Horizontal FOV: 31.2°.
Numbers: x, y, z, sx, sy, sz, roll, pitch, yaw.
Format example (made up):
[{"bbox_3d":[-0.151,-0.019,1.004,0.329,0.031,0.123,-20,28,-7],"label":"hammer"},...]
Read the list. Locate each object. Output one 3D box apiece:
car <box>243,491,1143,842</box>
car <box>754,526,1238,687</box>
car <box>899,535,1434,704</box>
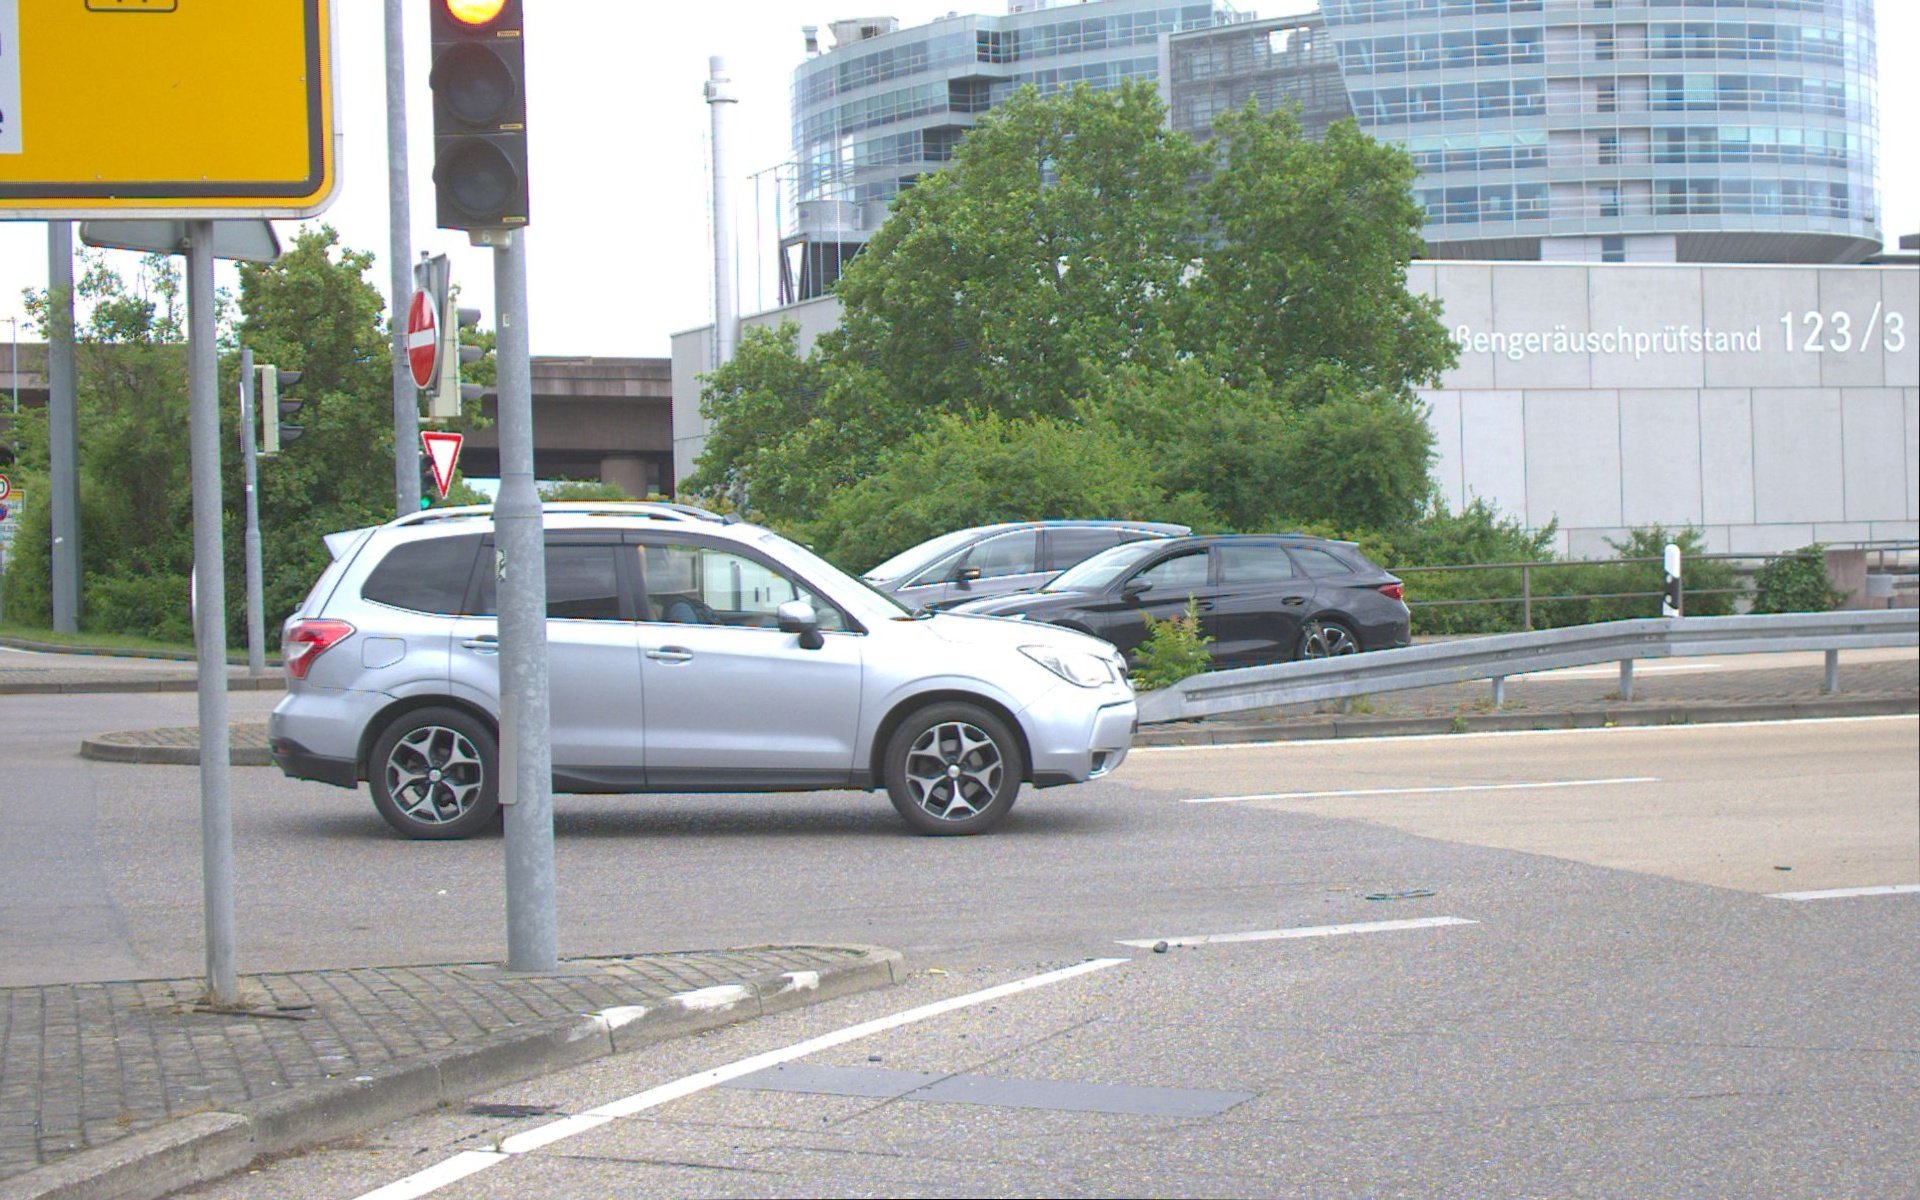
[{"bbox_3d":[-1.315,0.318,18.193,4.541,1.731,1.730,-1,1,3],"label":"car"},{"bbox_3d":[0.362,0.030,35.938,4.677,1.566,1.956,0,2,-18],"label":"car"},{"bbox_3d":[1.930,0.139,32.209,4.604,1.452,1.956,-1,2,-22],"label":"car"}]
